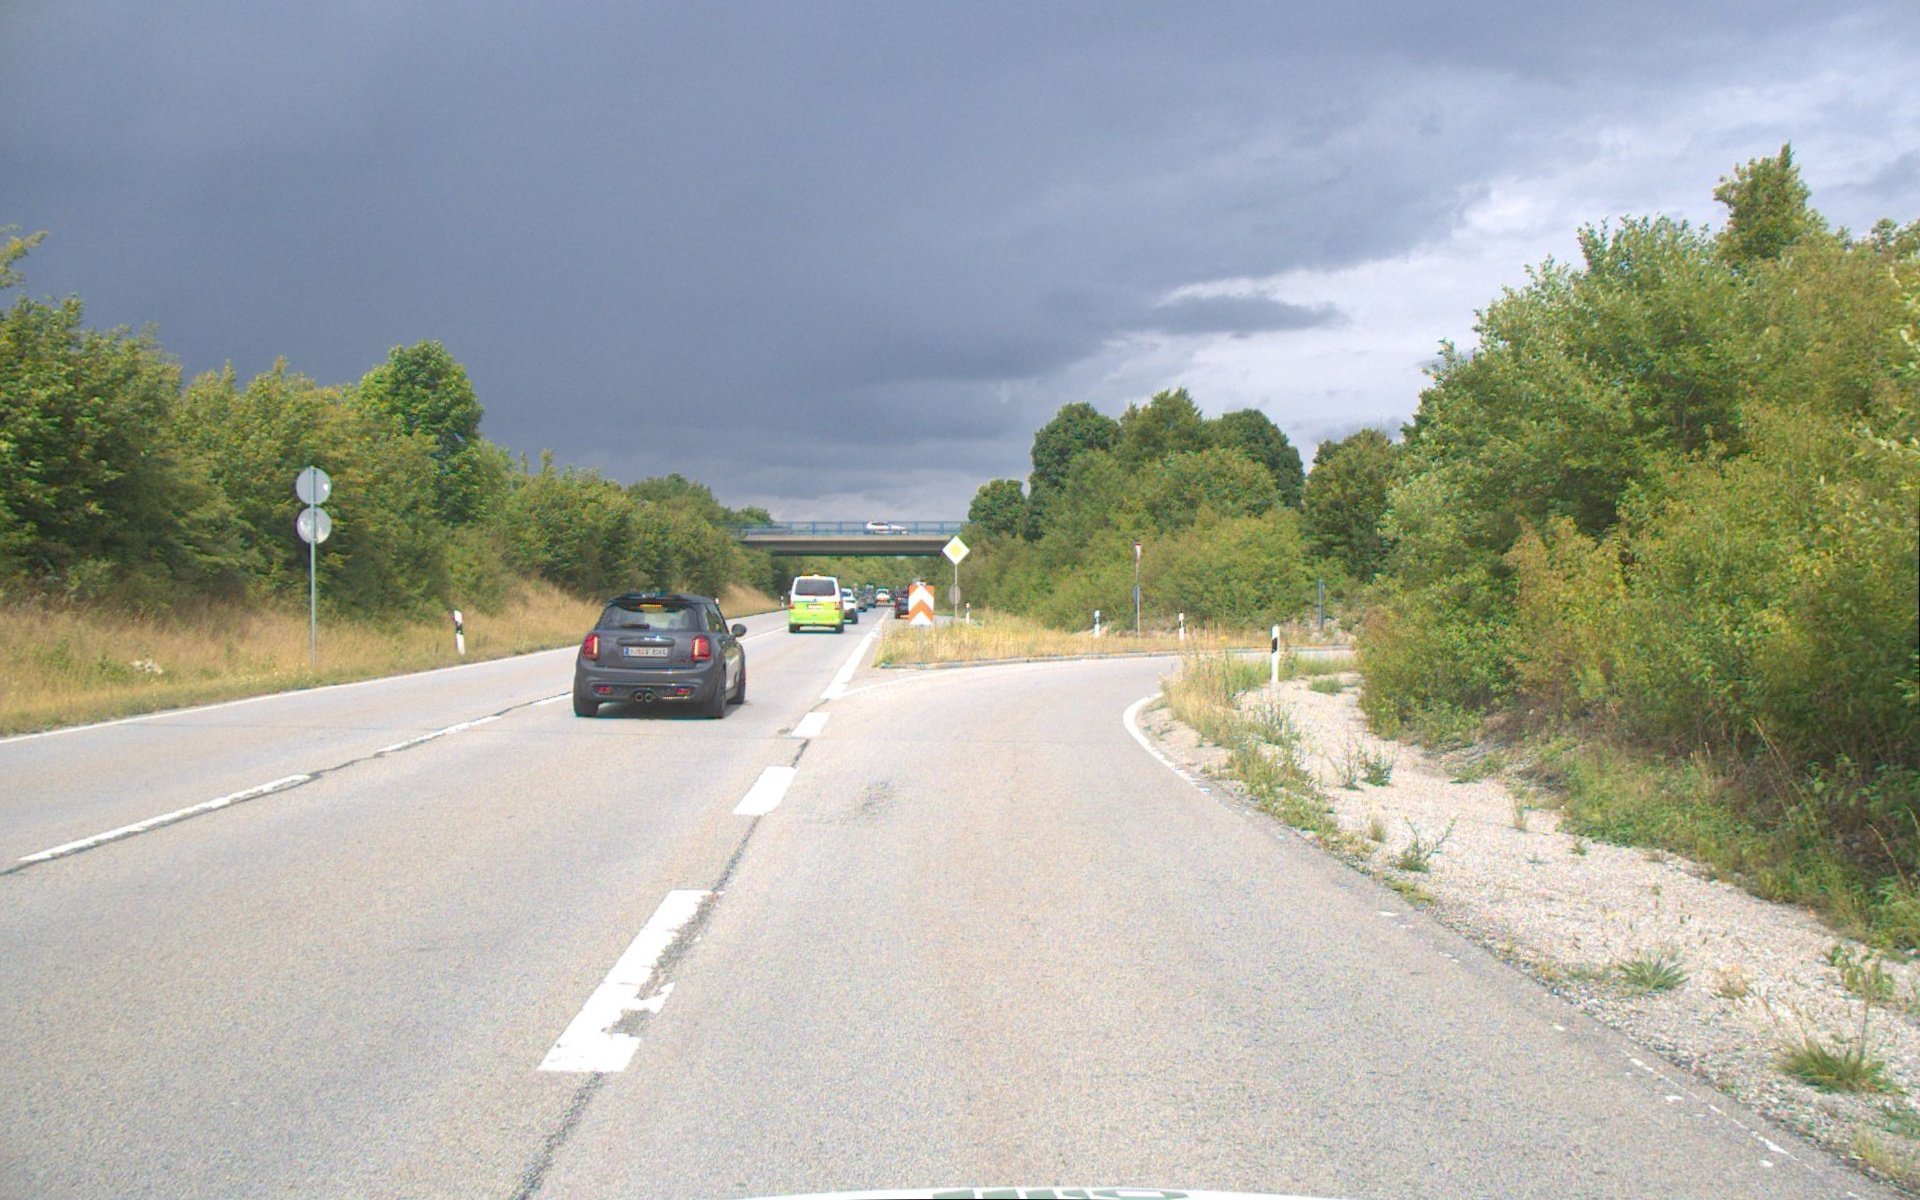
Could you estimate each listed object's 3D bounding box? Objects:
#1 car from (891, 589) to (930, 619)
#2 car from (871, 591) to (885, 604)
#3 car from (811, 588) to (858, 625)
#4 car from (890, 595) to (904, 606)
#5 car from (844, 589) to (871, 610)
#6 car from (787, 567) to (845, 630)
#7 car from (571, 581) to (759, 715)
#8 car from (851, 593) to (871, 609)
[{"bbox_3d":[-2.758,0.191,91.581,1.954,1.579,3.997,2,0,-4],"label":"car"},{"bbox_3d":[-9.899,-0.310,200.359,1.633,1.427,3.999,1,0,-2],"label":"car"},{"bbox_3d":[-5.621,0.270,74.534,1.953,1.579,3.998,2,0,-2],"label":"car"},{"bbox_3d":[-8.564,0.001,223.867,1.633,1.427,4.000,1,0,1],"label":"car"},{"bbox_3d":[-7.236,-0.012,116.862,1.633,1.427,3.999,1,0,-1],"label":"car"},{"bbox_3d":[-5.075,-0.054,58.745,1.783,2.090,3.998,2,0,-2],"label":"car"},{"bbox_3d":[-3.528,0.527,20.435,1.721,1.452,3.998,2,0,-2],"label":"car"},{"bbox_3d":[-8.727,0.072,146.098,1.633,1.427,3.998,1,0,-2],"label":"car"}]
